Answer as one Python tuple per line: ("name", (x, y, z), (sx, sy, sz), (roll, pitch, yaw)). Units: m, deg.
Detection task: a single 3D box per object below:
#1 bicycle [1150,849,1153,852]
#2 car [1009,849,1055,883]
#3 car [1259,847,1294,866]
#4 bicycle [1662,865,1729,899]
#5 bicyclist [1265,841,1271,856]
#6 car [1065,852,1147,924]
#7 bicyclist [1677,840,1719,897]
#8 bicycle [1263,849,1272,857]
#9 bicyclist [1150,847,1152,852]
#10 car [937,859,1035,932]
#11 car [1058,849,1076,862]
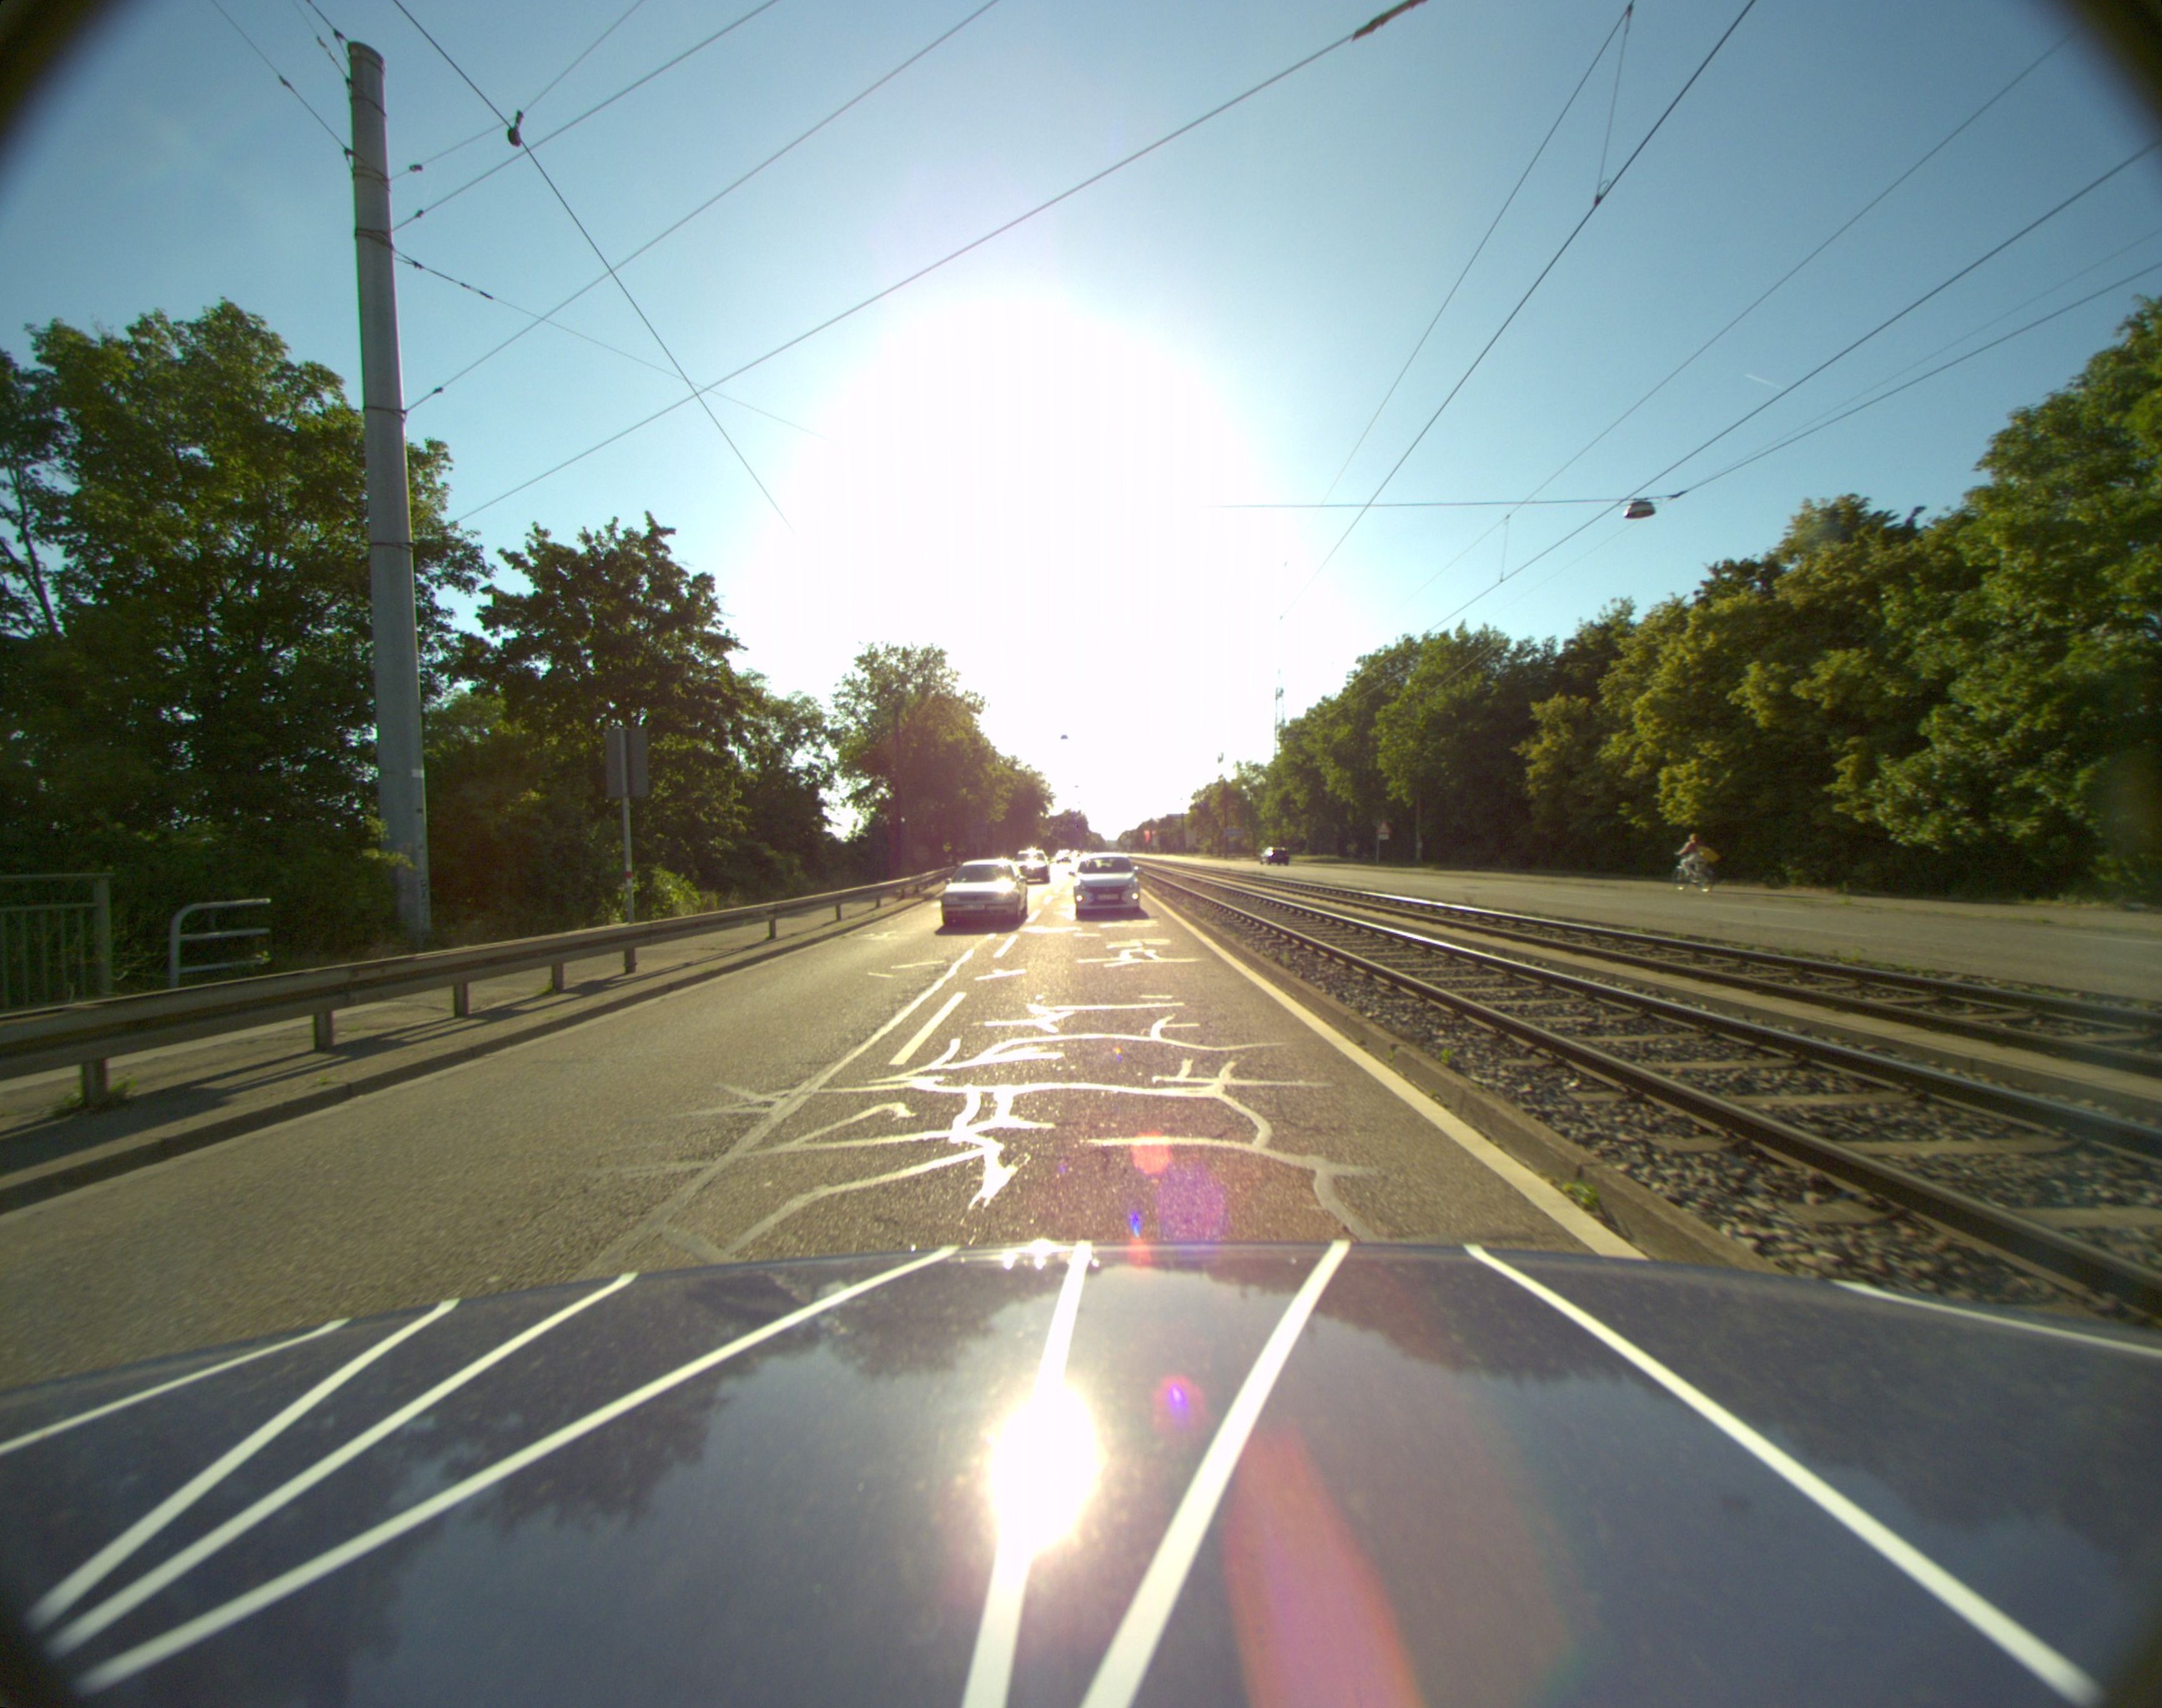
("bicycle", (23.636, -1.090, 255.169), (0.591, 1.016, 2.185), (-1, 1, 0))
("car", (-2.505, 0.579, 39.872), (1.881, 1.591, 4.417), (-2, 1, 2))
("car", (18.173, 0.223, 70.807), (1.998, 1.676, 4.795), (0, 1, 1))
("bicycle", (18.708, 0.829, 23.188), (0.509, 0.887, 2.027), (-3, 1, 4))
("bicyclist", (21.793, -0.606, 88.640), (0.551, 1.680, 0.820), (-3, 1, 5))
("car", (0.674, 0.803, 20.111), (1.881, 1.591, 4.417), (-2, 1, 2))
("bicyclist", (18.670, 0.428, 23.002), (0.509, 1.677, 0.919), (-3, 1, 4))
("bicycle", (21.747, -0.120, 88.608), (0.552, 0.980, 2.238), (-3, 1, 2))
("bicyclist", (23.634, -1.398, 255.203), (0.591, 1.601, 0.967), (-1, 1, 0))
("car", (-2.174, 0.904, 18.358), (1.695, 1.437, 4.001), (-2, 1, 2))
("car", (-1.686, 0.202, 93.346), (1.881, 1.449, 4.417), (-2, 1, 2))
